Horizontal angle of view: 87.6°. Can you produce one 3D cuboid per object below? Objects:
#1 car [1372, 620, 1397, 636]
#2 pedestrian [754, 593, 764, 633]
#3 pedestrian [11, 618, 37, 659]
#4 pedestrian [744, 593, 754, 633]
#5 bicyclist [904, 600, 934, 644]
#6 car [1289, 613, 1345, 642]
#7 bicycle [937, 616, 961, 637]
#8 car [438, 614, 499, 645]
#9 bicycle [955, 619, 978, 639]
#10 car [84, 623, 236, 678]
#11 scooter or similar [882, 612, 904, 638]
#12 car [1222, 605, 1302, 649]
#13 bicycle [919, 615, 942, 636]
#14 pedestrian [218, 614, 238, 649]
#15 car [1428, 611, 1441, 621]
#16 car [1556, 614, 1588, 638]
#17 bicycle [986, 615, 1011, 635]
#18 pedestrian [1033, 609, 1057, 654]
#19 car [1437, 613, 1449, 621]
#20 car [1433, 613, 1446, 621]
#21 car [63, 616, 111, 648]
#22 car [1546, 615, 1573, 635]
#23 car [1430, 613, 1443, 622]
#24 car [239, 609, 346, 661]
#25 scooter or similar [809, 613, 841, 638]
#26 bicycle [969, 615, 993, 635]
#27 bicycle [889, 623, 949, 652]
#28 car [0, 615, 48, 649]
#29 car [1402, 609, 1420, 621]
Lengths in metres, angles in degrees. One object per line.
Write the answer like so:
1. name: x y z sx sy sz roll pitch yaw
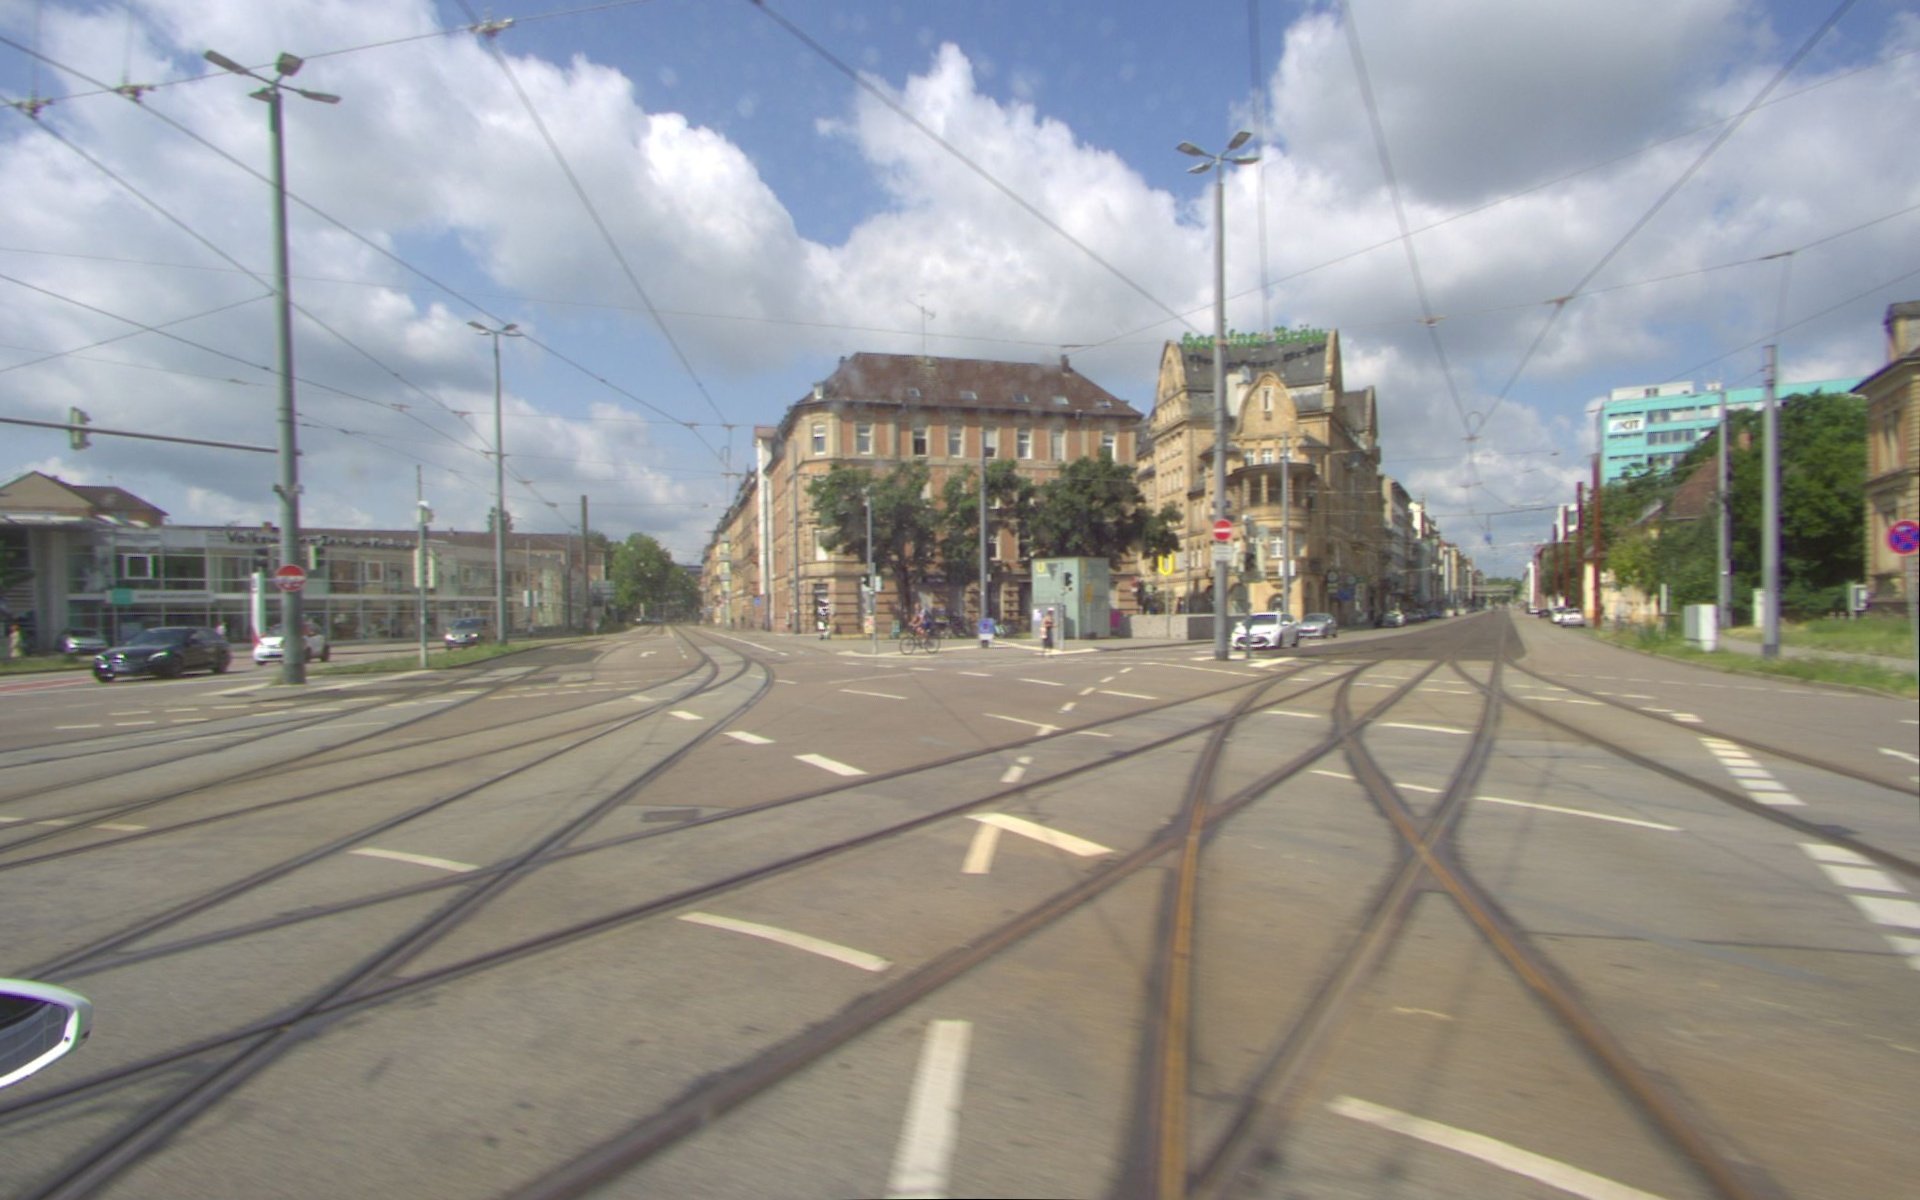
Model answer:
1. car: 39.365 2.590 92.873 1.840 1.401 3.987 0 -2 27
2. pedestrian: -16.135 1.047 80.402 0.713 3.115 0.888 1 -1 -8
3. pedestrian: -46.979 1.953 50.263 0.801 2.039 0.802 2 -2 -38
4. pedestrian: -16.905 1.040 80.302 0.655 3.160 0.888 1 -1 -8
5. bicyclist: -1.572 0.857 38.624 1.126 1.696 0.615 1 -1 -4
6. car: 20.673 1.603 57.911 1.817 1.616 3.971 -1 -3 39
7. bicycle: -0.671 1.550 59.222 0.747 1.181 2.681 1 -1 -15
8. car: -25.977 1.533 53.014 1.963 1.594 3.733 -1 0 -11
9. bicycle: 0.367 1.736 59.567 0.747 1.180 2.683 1 -2 -14
10. car: -22.573 1.380 28.462 1.836 1.394 3.936 0 -1 -13
11. scooter or similar: -3.922 1.487 58.859 0.865 1.501 2.011 0 -1 -17
12. car: 11.780 1.087 38.850 1.929 1.616 4.486 -1 -3 31
13. bicycle: -1.737 1.471 58.929 0.747 1.181 2.681 -1 0 -15
14. pedestrian: -42.349 1.815 57.924 0.862 2.040 0.698 0 0 -40
15. car: 75.564 2.581 159.460 1.840 1.401 3.987 0 -2 27
16. car: 54.007 2.353 88.384 1.968 2.039 3.989 0 -2 25
17. bicycle: 2.270 1.490 60.011 0.747 1.181 2.681 -1 0 -15
18. pedestrian: 2.952 1.076 34.741 0.728 1.536 0.544 0 0 -9
19. car: 85.851 3.012 177.923 1.840 1.401 3.987 0 -2 27
20. car: 82.364 2.930 171.910 1.840 1.401 3.987 0 -2 27
21. car: -48.817 1.786 56.039 1.914 1.705 3.966 2 -3 -41
22. car: 62.740 2.660 104.860 1.968 2.039 3.989 0 -2 25
23. car: 78.739 2.849 165.391 1.840 1.401 3.987 0 -2 27
24. car: -25.192 1.332 37.959 1.963 1.861 3.998 1 -2 -12
25. scooter or similar: -7.788 1.477 57.755 1.161 1.403 2.796 1 -2 -23
26. bicycle: 1.242 1.485 59.779 0.747 1.181 2.681 -1 0 -15
27. bicycle: -1.583 1.468 38.759 2.161 1.084 0.875 1 -2 -22
28. car: -50.456 1.710 53.672 1.977 1.747 3.970 2 -3 -38
29. car: 54.049 1.803 119.942 1.841 1.401 3.987 -1 -2 27
